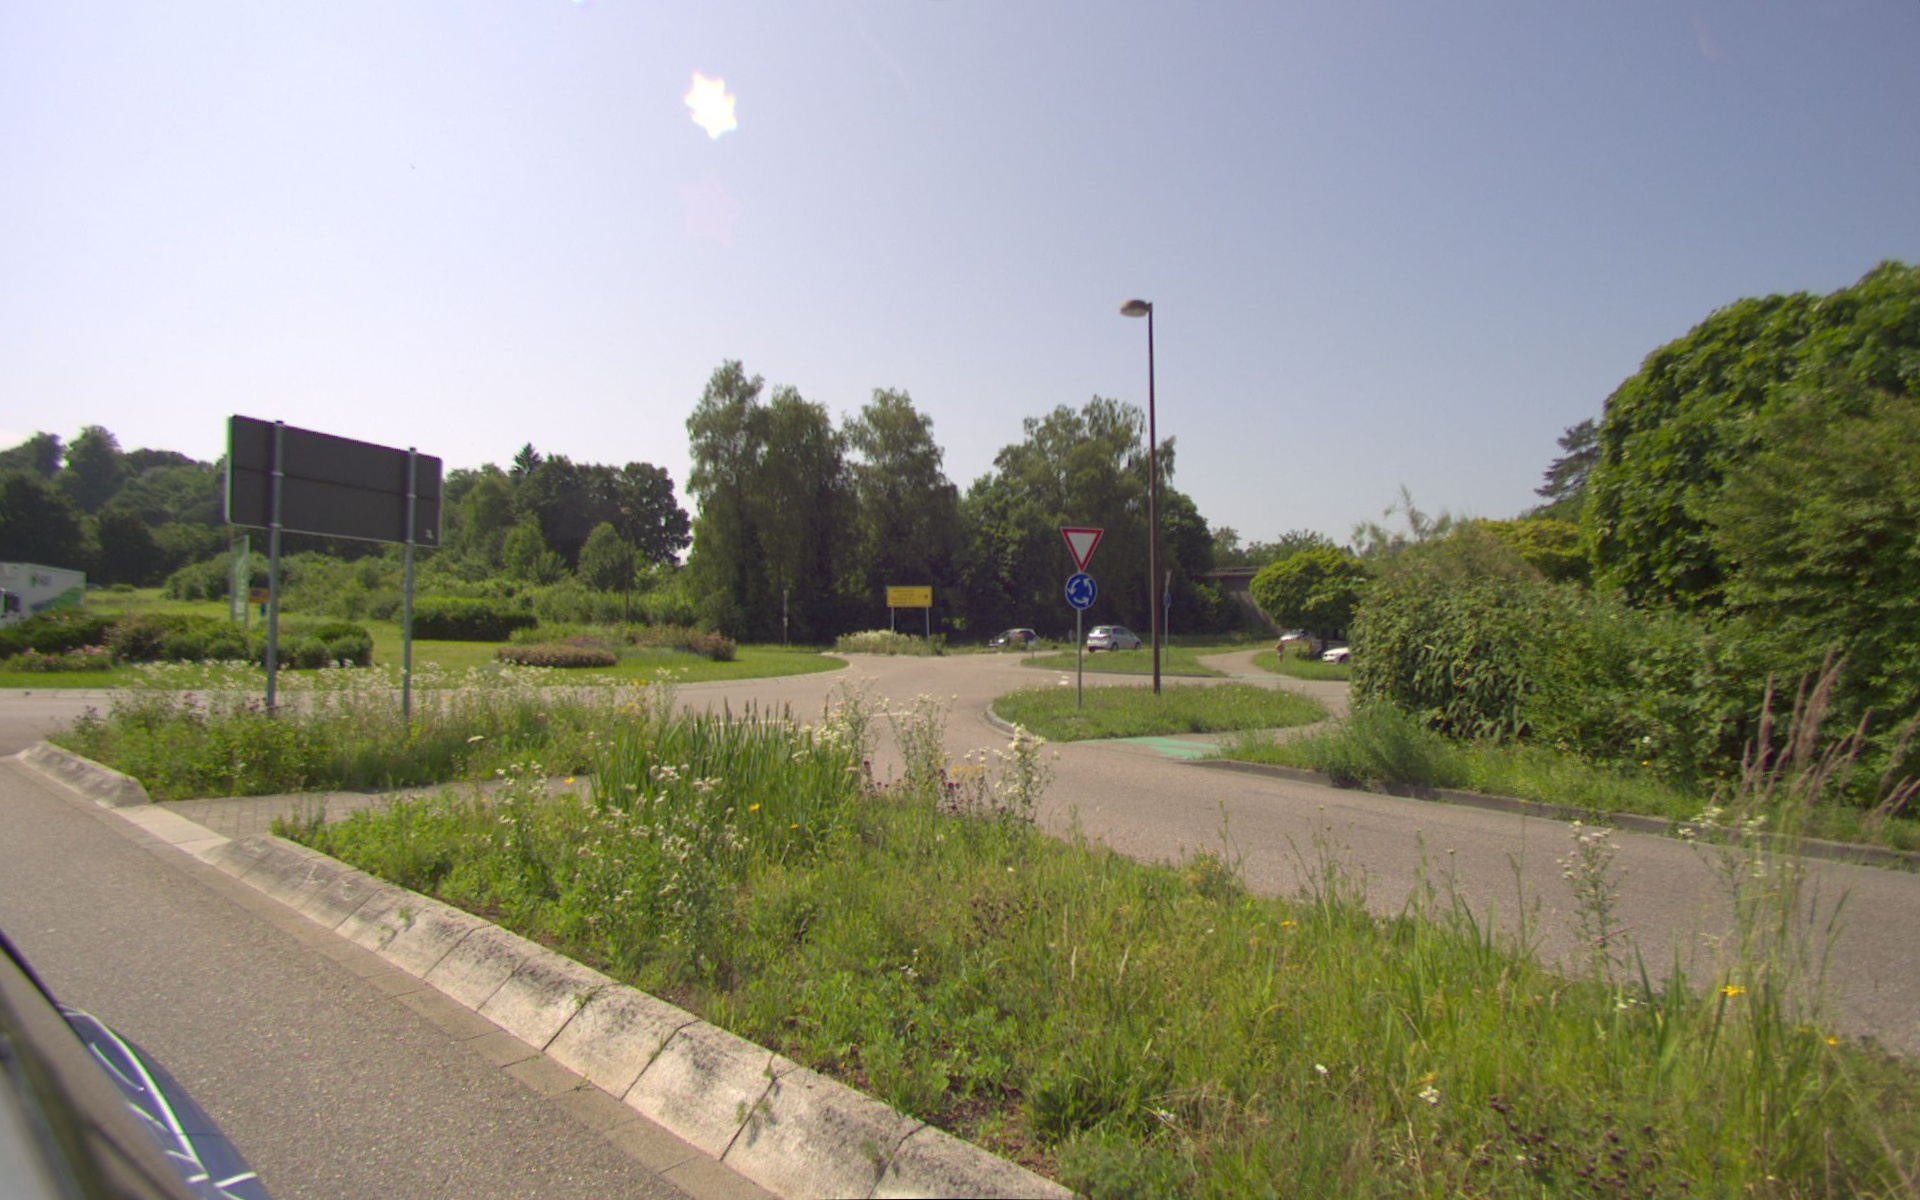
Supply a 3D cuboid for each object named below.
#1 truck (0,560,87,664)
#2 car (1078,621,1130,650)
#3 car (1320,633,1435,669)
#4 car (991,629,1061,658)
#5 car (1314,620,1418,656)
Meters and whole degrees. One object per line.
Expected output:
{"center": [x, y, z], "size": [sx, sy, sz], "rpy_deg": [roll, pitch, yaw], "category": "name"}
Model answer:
{"center": [-38.631, 0.458, 40.977], "size": [2.850, 3.858, 9.053], "rpy_deg": [0, 0, -27], "category": "truck"}
{"center": [8.650, 2.085, 60.388], "size": [1.784, 1.564, 3.960], "rpy_deg": [0, 0, 29], "category": "car"}
{"center": [18.732, 2.263, 45.496], "size": [4.497, 1.509, 1.587], "rpy_deg": [0, 0, -3], "category": "car"}
{"center": [4.303, 2.794, 65.935], "size": [4.570, 1.665, 2.030], "rpy_deg": [-1, 0, -45], "category": "car"}
{"center": [19.886, 1.826, 49.623], "size": [4.403, 1.573, 1.851], "rpy_deg": [0, 0, 40], "category": "car"}
